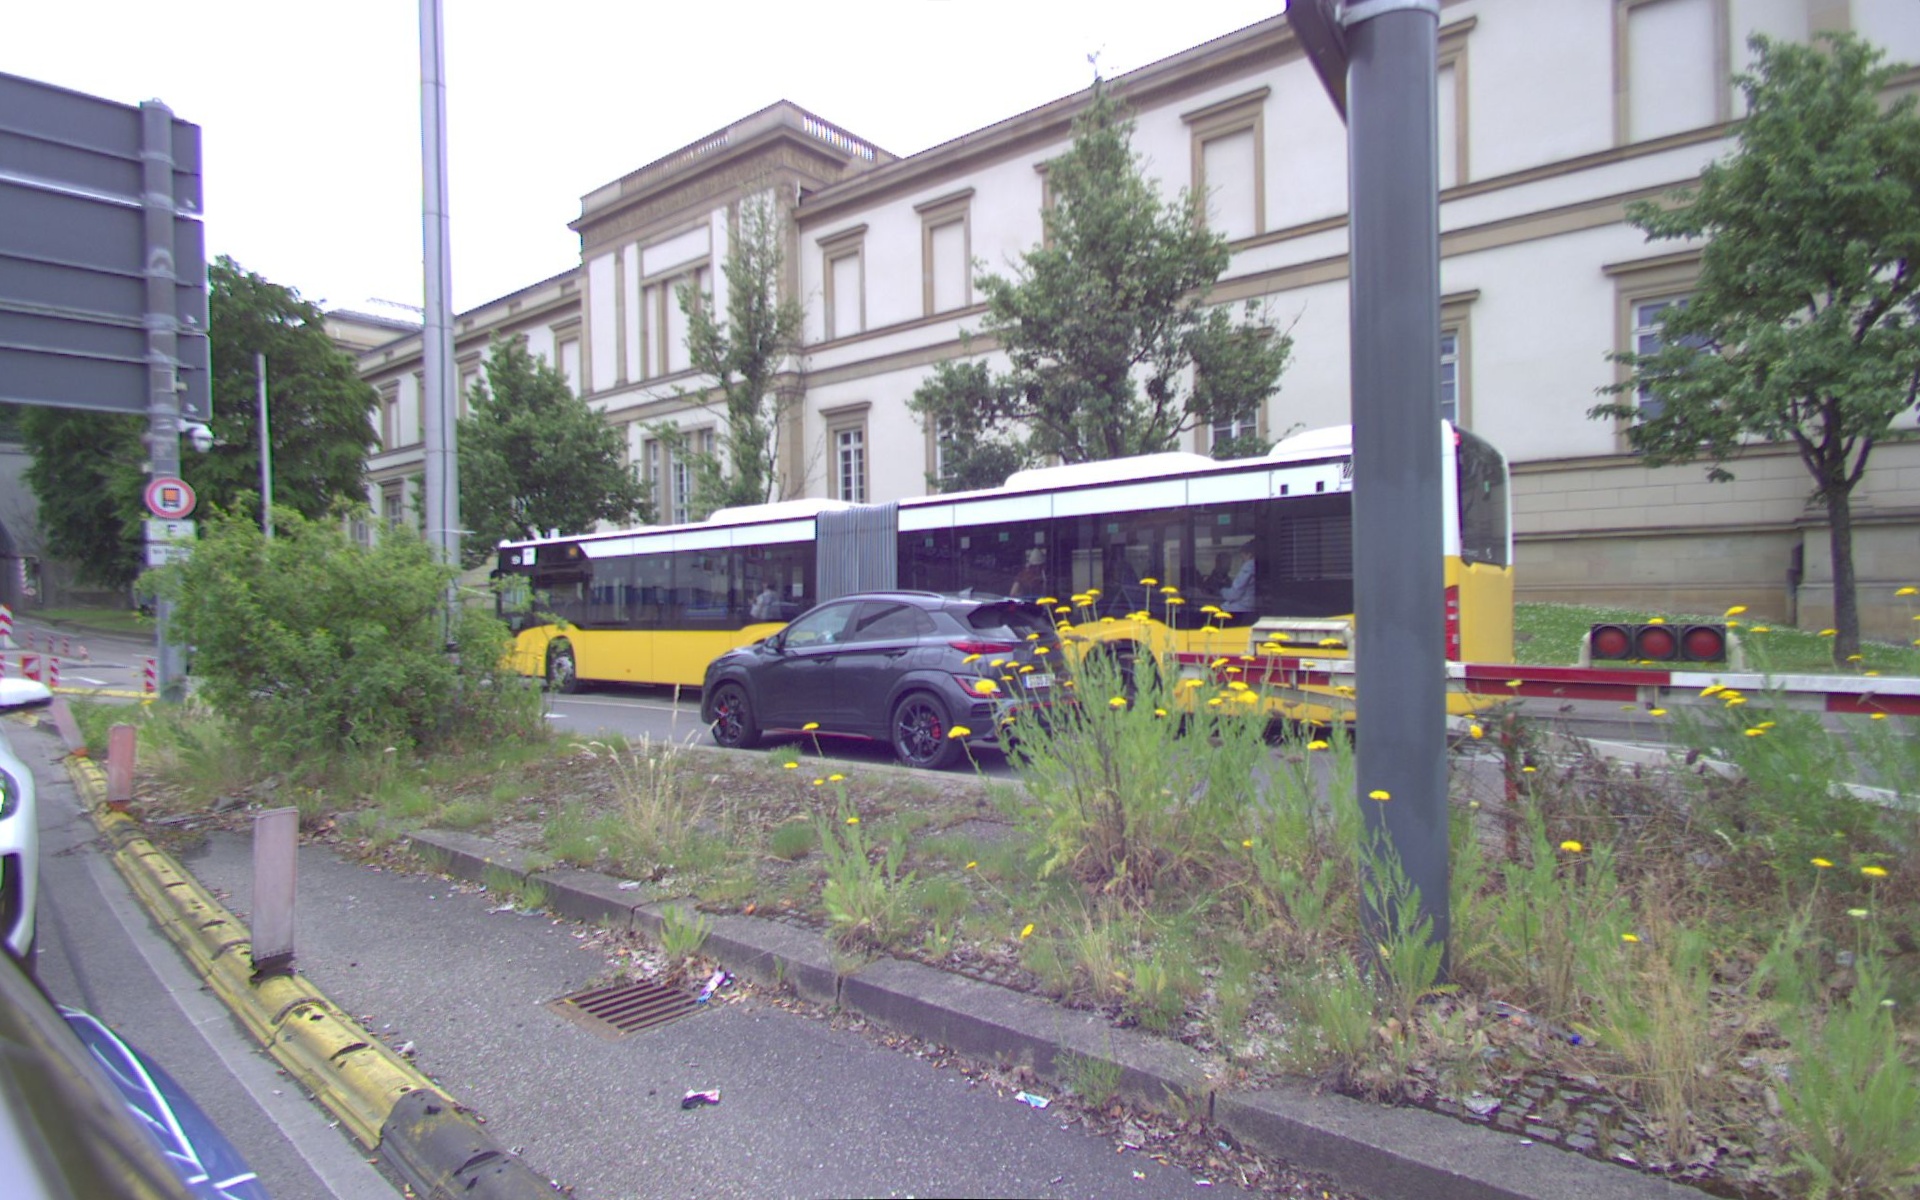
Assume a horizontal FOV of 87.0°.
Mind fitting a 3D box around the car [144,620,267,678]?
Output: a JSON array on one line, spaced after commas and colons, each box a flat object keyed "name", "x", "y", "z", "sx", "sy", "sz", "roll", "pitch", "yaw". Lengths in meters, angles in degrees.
[{"name": "car", "x": -21.378, "y": 1.355, "z": 28.610, "sx": 4.282, "sy": 1.525, "sz": 1.690, "roll": -1, "pitch": -2, "yaw": 38}]

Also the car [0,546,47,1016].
[{"name": "car", "x": -5.250, "y": 0.671, "z": 4.168, "sx": 3.881, "sy": 1.603, "sz": 1.824, "roll": -2, "pitch": 0, "yaw": 42}]

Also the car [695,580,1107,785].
[{"name": "car", "x": -0.693, "y": 0.669, "z": 9.834, "sx": 3.879, "sy": 1.601, "sz": 1.680, "roll": -1, "pitch": 0, "yaw": 40}]

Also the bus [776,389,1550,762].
[{"name": "bus", "x": 1.808, "y": -0.144, "z": 12.519, "sx": 9.113, "sy": 3.137, "sz": 2.817, "roll": -1, "pitch": 0, "yaw": 40}]

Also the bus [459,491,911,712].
[{"name": "bus", "x": -5.479, "y": 0.093, "z": 18.539, "sx": 9.738, "sy": 3.137, "sz": 2.818, "roll": -1, "pitch": 0, "yaw": 39}]
